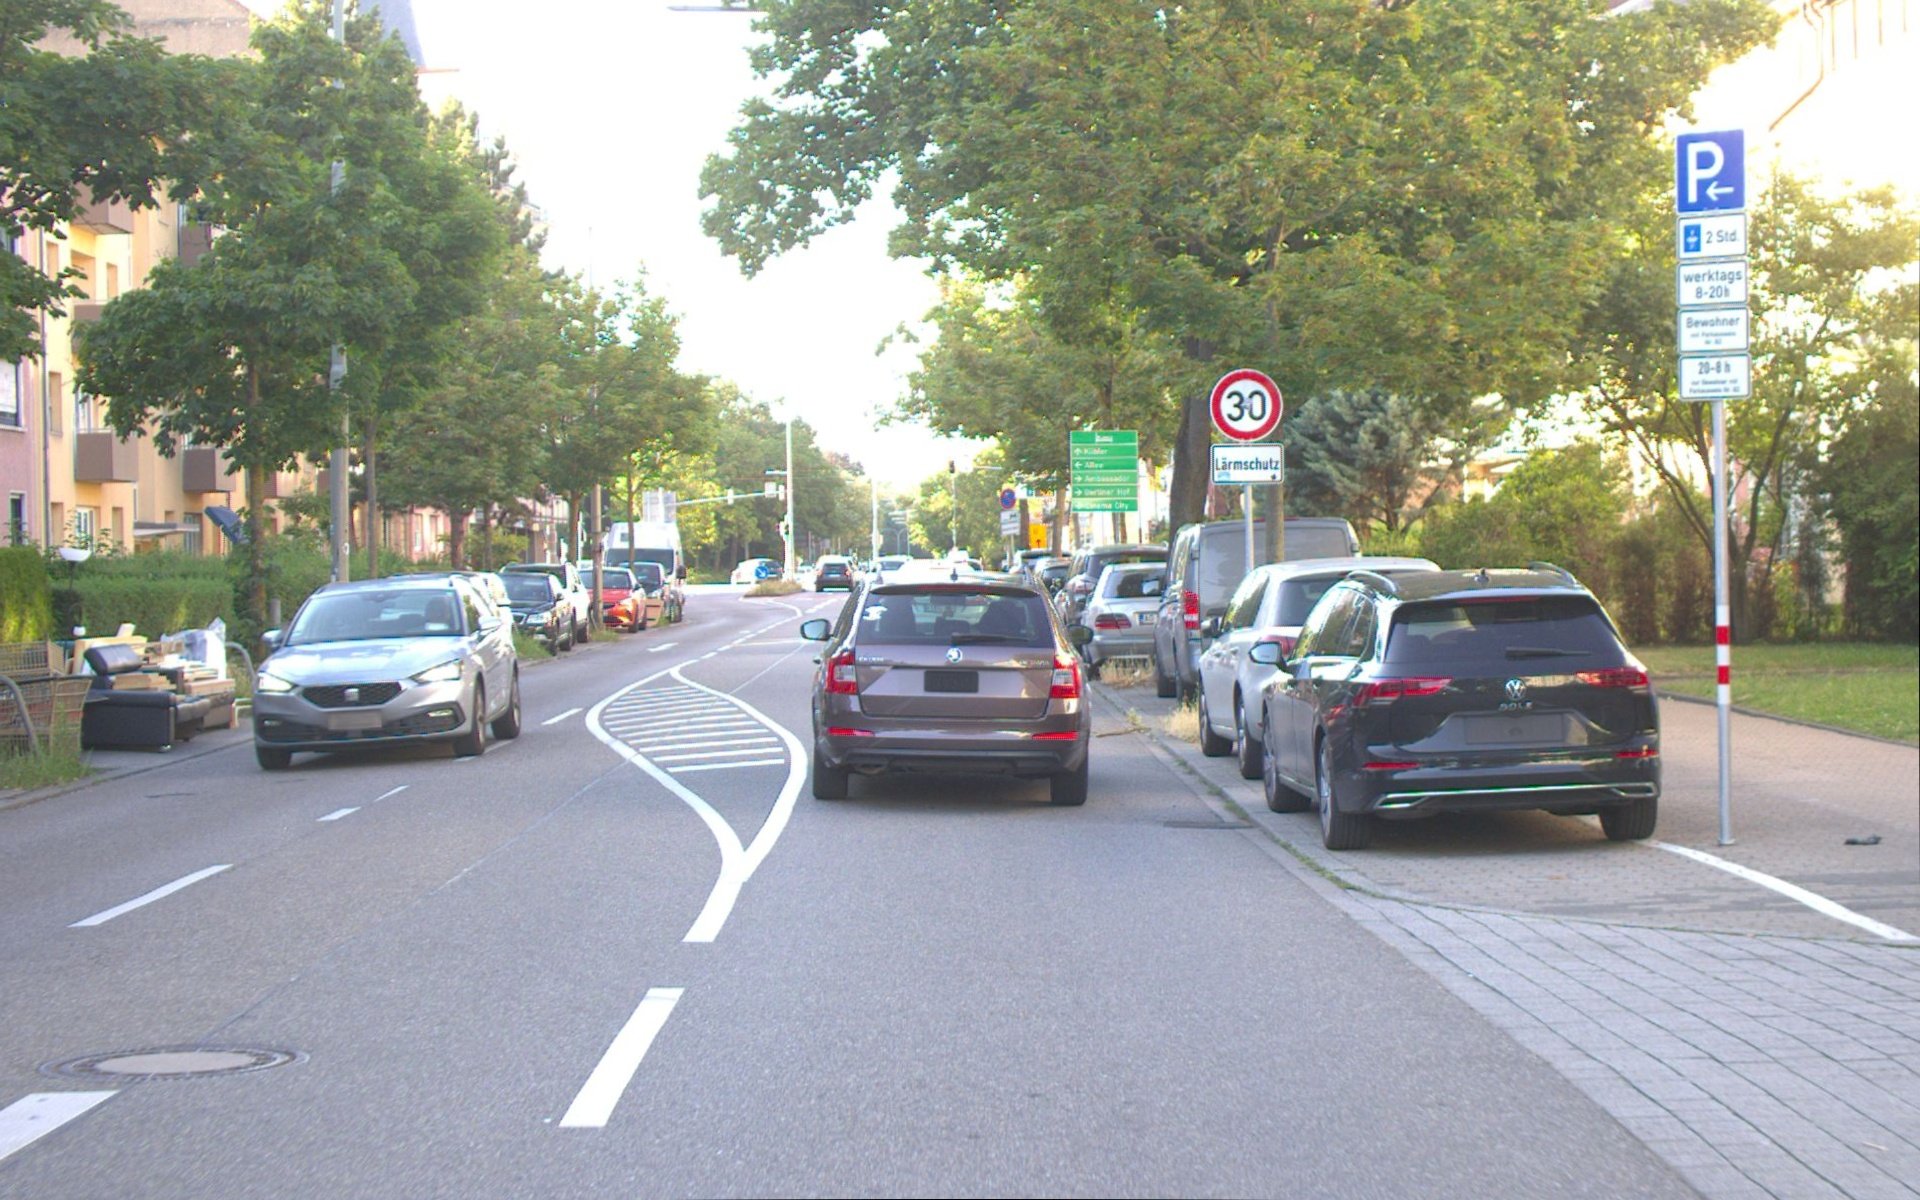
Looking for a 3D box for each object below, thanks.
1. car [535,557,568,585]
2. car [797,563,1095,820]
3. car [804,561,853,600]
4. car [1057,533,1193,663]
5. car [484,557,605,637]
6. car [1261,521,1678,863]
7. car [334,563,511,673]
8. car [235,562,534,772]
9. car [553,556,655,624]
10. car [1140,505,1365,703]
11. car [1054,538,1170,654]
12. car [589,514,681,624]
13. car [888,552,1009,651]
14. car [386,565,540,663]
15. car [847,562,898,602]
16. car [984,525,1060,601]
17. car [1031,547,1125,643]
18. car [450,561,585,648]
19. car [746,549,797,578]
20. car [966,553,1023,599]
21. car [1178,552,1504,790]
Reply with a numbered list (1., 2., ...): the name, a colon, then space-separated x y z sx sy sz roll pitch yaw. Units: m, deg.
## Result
1. car: -25.906 -1.861 217.882 1.993 1.744 4.001 -1 1 -8
2. car: -0.046 0.523 22.467 1.754 1.487 4.000 1 1 1
3. car: -6.093 -0.901 158.841 1.993 1.744 4.001 -1 1 -6
4. car: 2.262 -0.055 47.857 1.754 1.709 4.000 1 1 1
5. car: -8.125 -0.080 67.532 1.781 1.475 3.971 1 1 2
6. car: 2.721 0.427 19.247 1.754 1.681 4.252 1 1 1
7. car: -7.656 0.222 49.317 1.781 1.475 4.033 1 1 2
8. car: -4.686 0.489 28.558 1.739 1.474 4.310 -4 1 -1
9. car: -8.054 -0.240 78.004 1.781 1.475 3.971 1 1 2
10. car: 2.908 -0.003 35.283 1.916 1.854 5.633 -1 1 1
11. car: 2.434 -0.094 55.841 1.754 1.799 4.000 1 1 1
12. car: -8.521 -0.827 90.563 1.991 2.771 5.504 1 1 -1
13. car: -0.215 0.033 57.502 1.892 1.501 3.790 3 0 -1
14. car: -7.961 0.198 55.396 1.781 1.475 3.971 1 1 2
15. car: -3.362 -0.700 131.827 1.780 1.475 3.971 1 1 -4
16. car: 1.503 -0.916 83.985 1.754 1.799 4.000 1 1 0
17. car: 2.276 -0.130 67.154 1.754 1.799 4.000 1 1 1
18. car: -7.922 0.049 61.835 1.781 1.475 3.971 1 1 2
19. car: -10.651 -2.068 194.227 1.644 1.593 3.601 -1 1 -25
20. car: 1.223 -0.879 123.944 1.644 1.593 3.651 -1 1 -6
21. car: 2.663 0.444 24.899 1.754 1.551 4.105 1 1 -2
